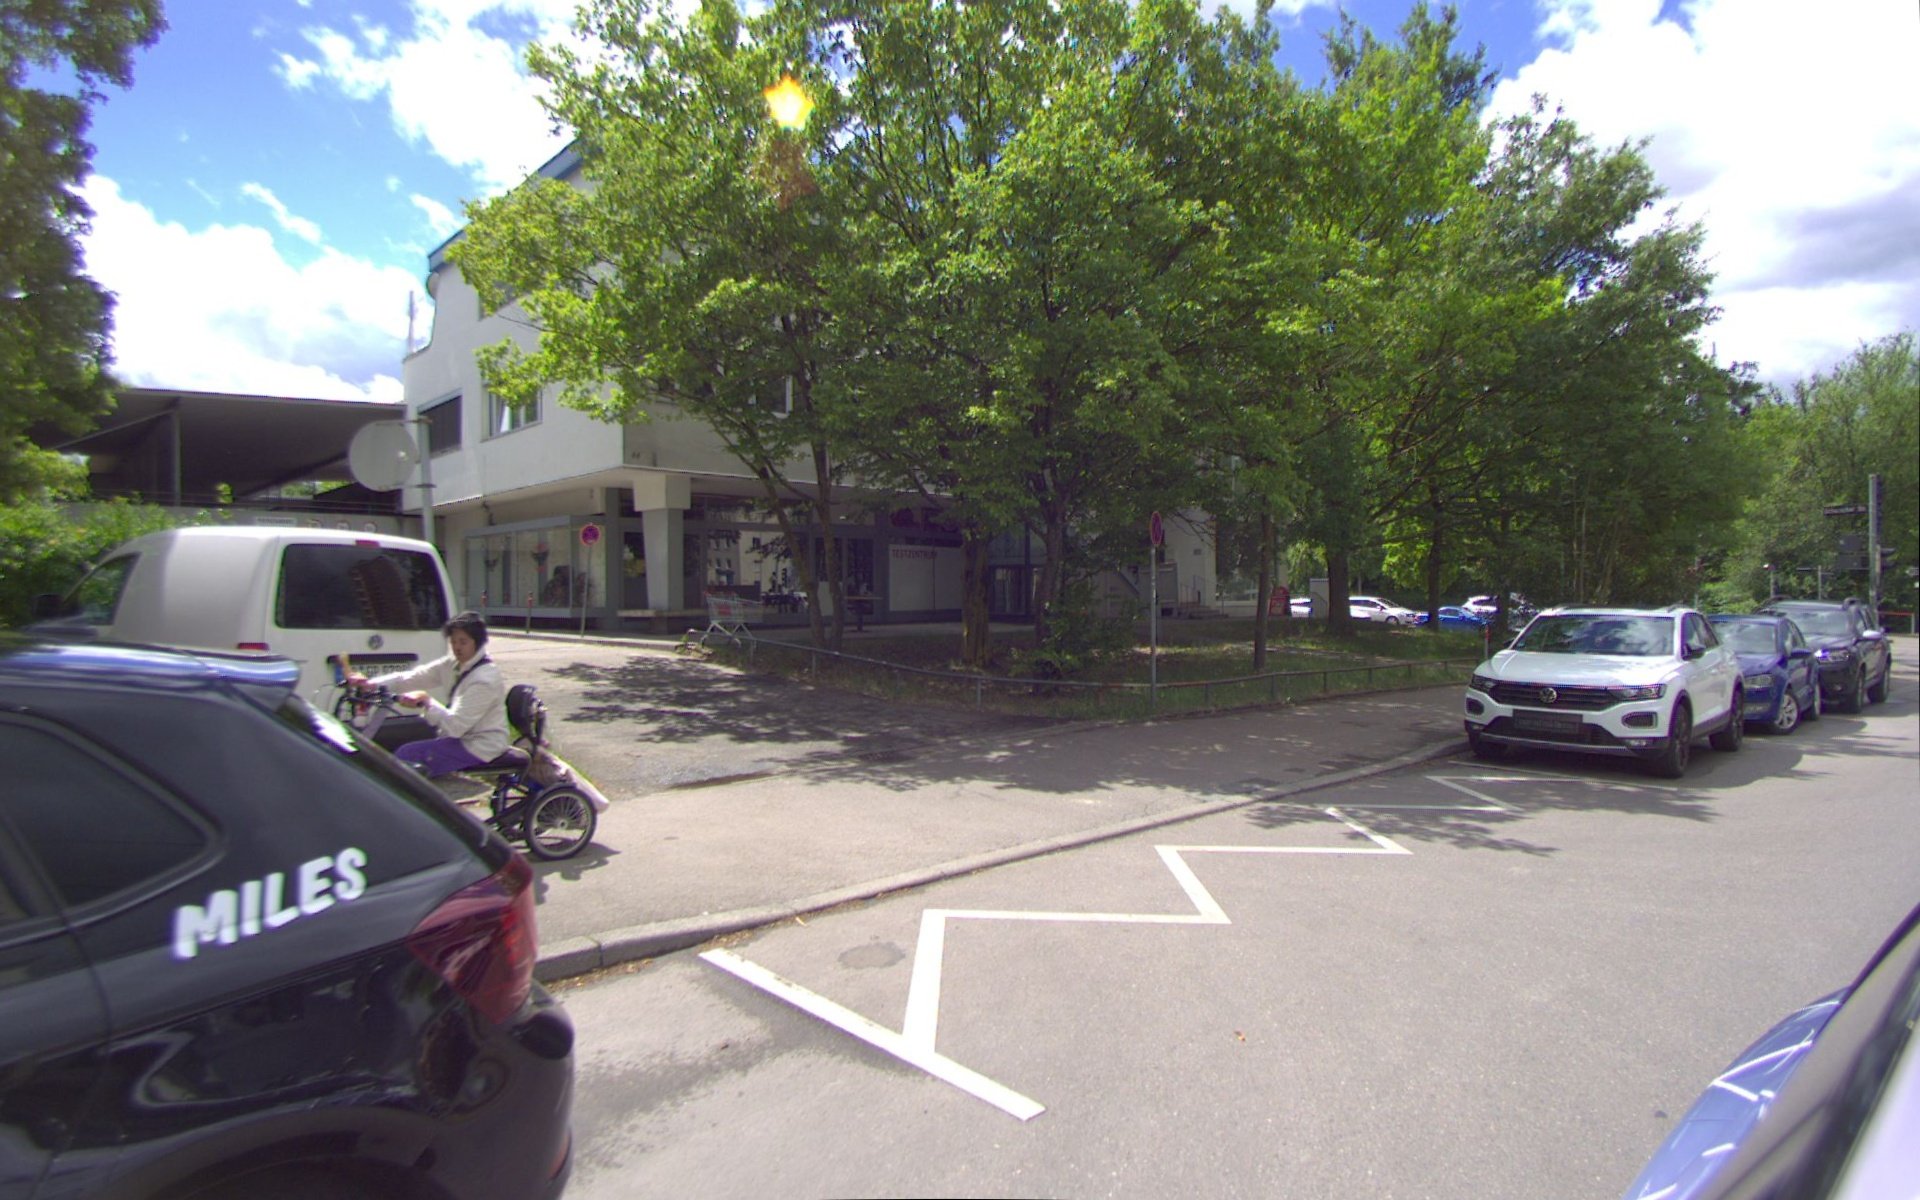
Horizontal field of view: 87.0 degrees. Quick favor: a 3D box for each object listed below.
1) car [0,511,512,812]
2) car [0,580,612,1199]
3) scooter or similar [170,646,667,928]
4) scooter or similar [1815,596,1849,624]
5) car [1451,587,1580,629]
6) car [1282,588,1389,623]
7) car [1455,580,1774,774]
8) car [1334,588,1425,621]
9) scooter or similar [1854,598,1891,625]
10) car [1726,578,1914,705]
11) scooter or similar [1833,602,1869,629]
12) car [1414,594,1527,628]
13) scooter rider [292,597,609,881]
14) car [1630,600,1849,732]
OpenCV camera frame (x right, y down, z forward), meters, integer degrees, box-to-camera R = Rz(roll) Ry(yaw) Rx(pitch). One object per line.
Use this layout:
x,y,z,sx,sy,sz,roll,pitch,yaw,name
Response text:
-5.612,0.315,7.966,3.965,1.845,1.792,2,1,29,car
-2.545,0.701,0.982,3.760,1.467,1.818,1,1,-42,car
-2.684,0.814,5.172,2.077,1.078,0.891,2,0,-41,scooter or similar
40.899,0.452,47.468,1.181,1.250,0.472,2,1,42,scooter or similar
24.394,0.309,44.586,1.892,1.611,4.646,-3,3,-43,car
17.808,0.214,48.130,4.391,1.432,1.921,2,4,45,car
6.998,0.641,10.603,4.493,1.585,1.785,1,1,-44,car
20.605,0.188,49.802,3.887,1.430,1.583,2,3,45,car
42.310,0.517,46.916,0.440,1.210,1.172,1,1,-32,scooter or similar
14.001,0.594,16.389,4.489,1.784,1.647,1,1,-41,car
44.750,0.790,50.844,1.195,1.310,0.531,-2,-5,20,scooter or similar
21.934,0.420,43.609,1.882,1.240,3.963,-3,3,-43,car
-2.619,0.625,5.222,1.259,1.236,0.887,2,0,-41,scooter rider
10.563,0.776,13.609,4.006,1.476,1.646,1,1,-42,car
